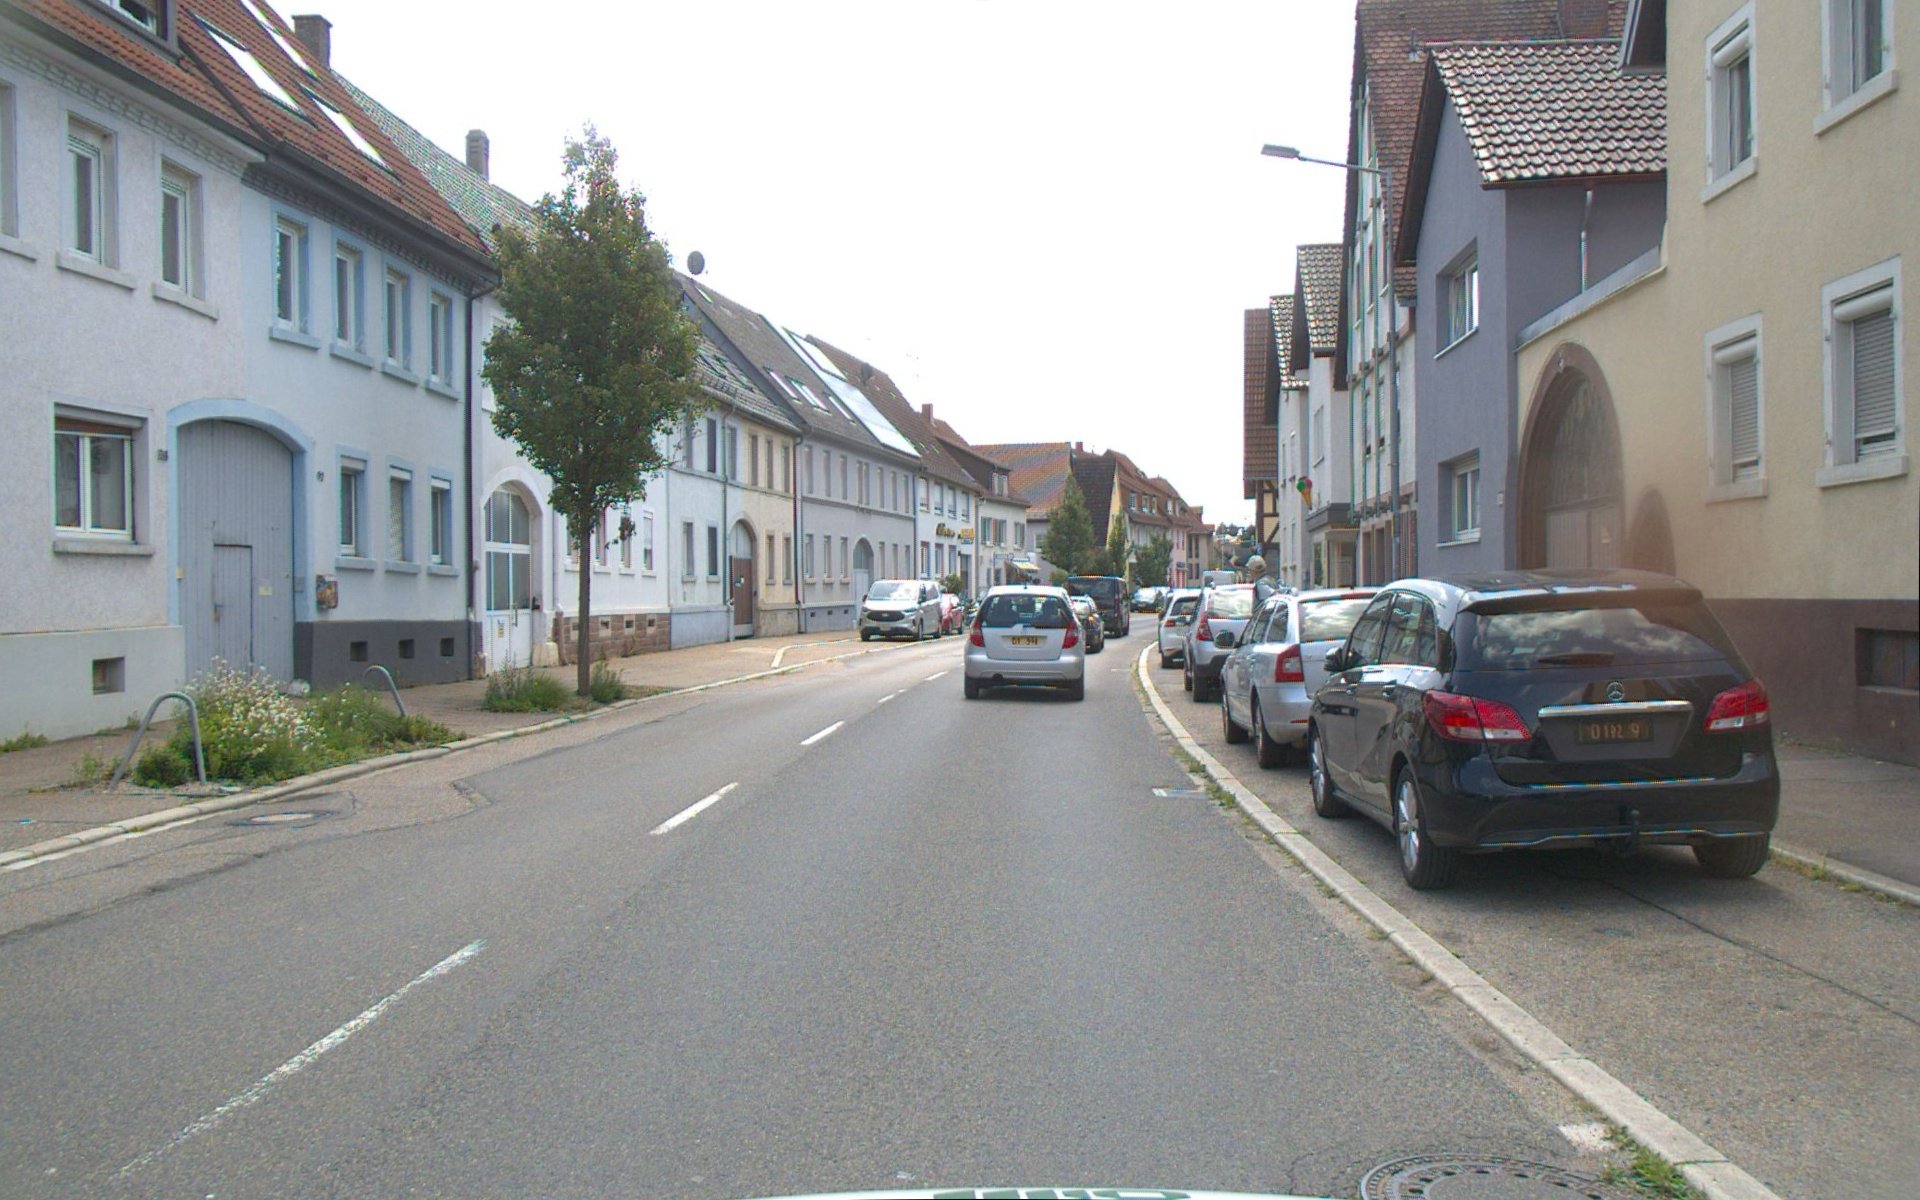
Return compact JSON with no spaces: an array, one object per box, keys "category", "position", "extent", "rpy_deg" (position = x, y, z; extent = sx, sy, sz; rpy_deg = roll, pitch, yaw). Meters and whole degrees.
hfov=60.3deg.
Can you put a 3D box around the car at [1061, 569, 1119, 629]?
[{"category":"car","position":[4.454,-0.025,56.099],"extent":[1.731,1.921,4.450],"rpy_deg":[1,0,7]}]

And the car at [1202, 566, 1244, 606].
[{"category":"car","position":[15.676,-0.807,98.517],"extent":[2.188,2.261,4.003],"rpy_deg":[-2,0,12]}]

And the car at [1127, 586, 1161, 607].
[{"category":"car","position":[12.214,-0.206,109.527],"extent":[1.668,1.291,4.003],"rpy_deg":[-2,0,14]}]

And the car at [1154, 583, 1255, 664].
[{"category":"car","position":[4.907,0.464,33.567],"extent":[1.821,1.488,3.452],"rpy_deg":[-2,0,6]}]

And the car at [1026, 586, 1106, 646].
[{"category":"car","position":[2.810,0.401,42.975],"extent":[1.904,1.432,4.002],"rpy_deg":[1,0,6]}]

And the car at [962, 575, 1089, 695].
[{"category":"car","position":[1.059,0.491,24.985],"extent":[1.731,1.622,4.002],"rpy_deg":[1,0,4]}]

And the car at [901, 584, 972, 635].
[{"category":"car","position":[-0.831,0.343,61.319],"extent":[1.951,1.736,4.003],"rpy_deg":[-2,0,9]}]

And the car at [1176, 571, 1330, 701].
[{"category":"car","position":[4.149,0.485,24.016],"extent":[1.821,1.654,4.199],"rpy_deg":[-2,0,6]}]

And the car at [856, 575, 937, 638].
[{"category":"car","position":[-2.023,0.186,53.978],"extent":[2.047,1.917,4.003],"rpy_deg":[-1,0,6]}]

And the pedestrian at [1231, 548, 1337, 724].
[{"category":"pedestrian","position":[3.564,0.380,18.247],"extent":[1.072,1.853,1.471],"rpy_deg":[-1,0,11]}]

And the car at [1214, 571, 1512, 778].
[{"category":"car","position":[3.474,0.595,15.058],"extent":[1.822,1.558,4.198],"rpy_deg":[-2,0,3]}]

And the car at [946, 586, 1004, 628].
[{"category":"car","position":[0.679,0.288,69.904],"extent":[1.753,1.677,4.003],"rpy_deg":[-2,0,10]}]

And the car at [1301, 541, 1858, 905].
[{"category":"car","position":[3.235,0.546,9.567],"extent":[1.951,1.586,4.003],"rpy_deg":[-3,0,5]}]
